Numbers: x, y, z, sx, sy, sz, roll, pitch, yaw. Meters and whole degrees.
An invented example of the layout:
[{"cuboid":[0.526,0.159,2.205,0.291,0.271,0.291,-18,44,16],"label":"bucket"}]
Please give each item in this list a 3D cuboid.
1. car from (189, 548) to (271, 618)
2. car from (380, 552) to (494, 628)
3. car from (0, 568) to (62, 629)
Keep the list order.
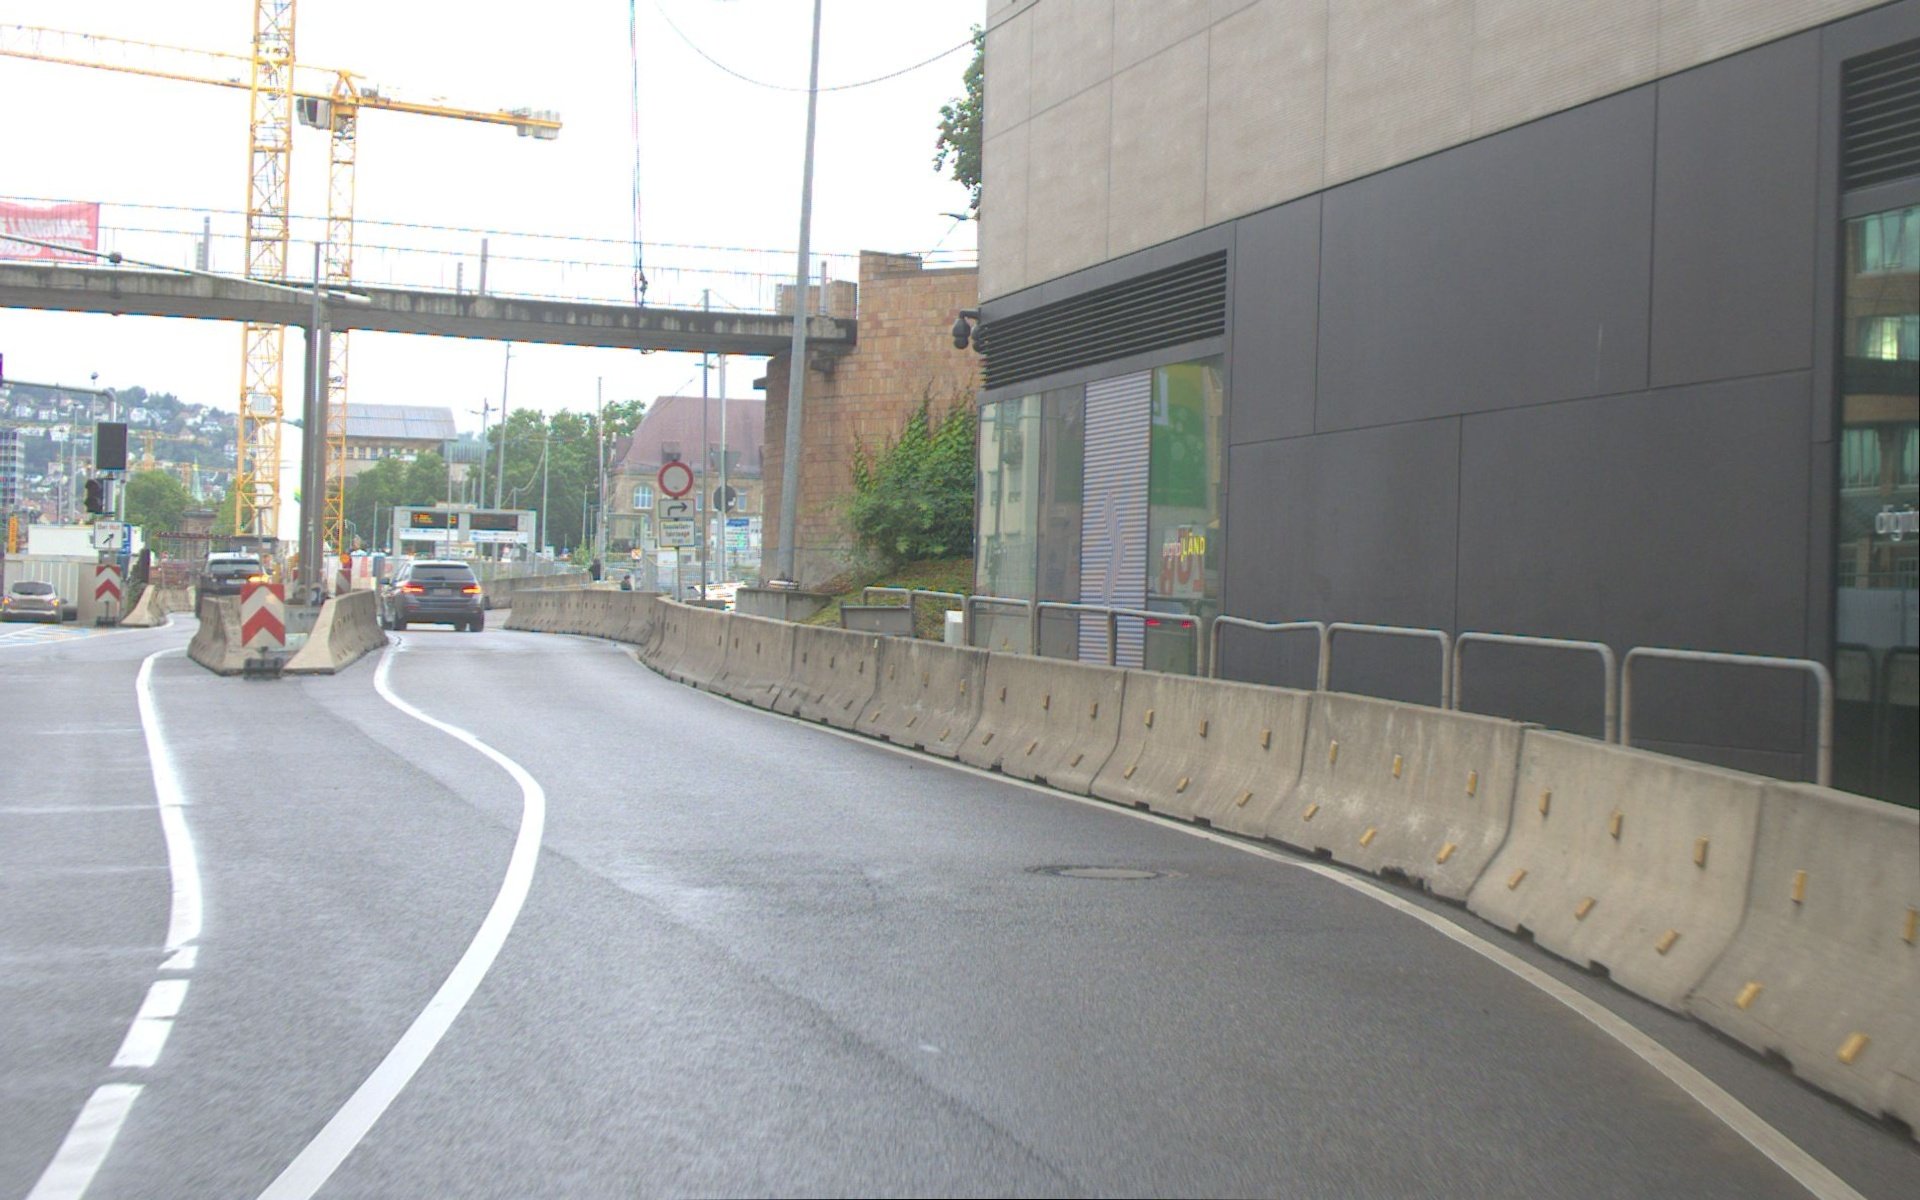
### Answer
[{"cuboid":[-18.537,-0.449,87.471,1.862,1.655,4.657,2,0,-11],"label":"car"},{"cuboid":[-10.767,-0.232,70.563,1.862,1.428,4.658,2,0,-14],"label":"car"},{"cuboid":[-28.930,-0.055,106.948,1.862,1.759,4.658,2,0,-14],"label":"car"}]
